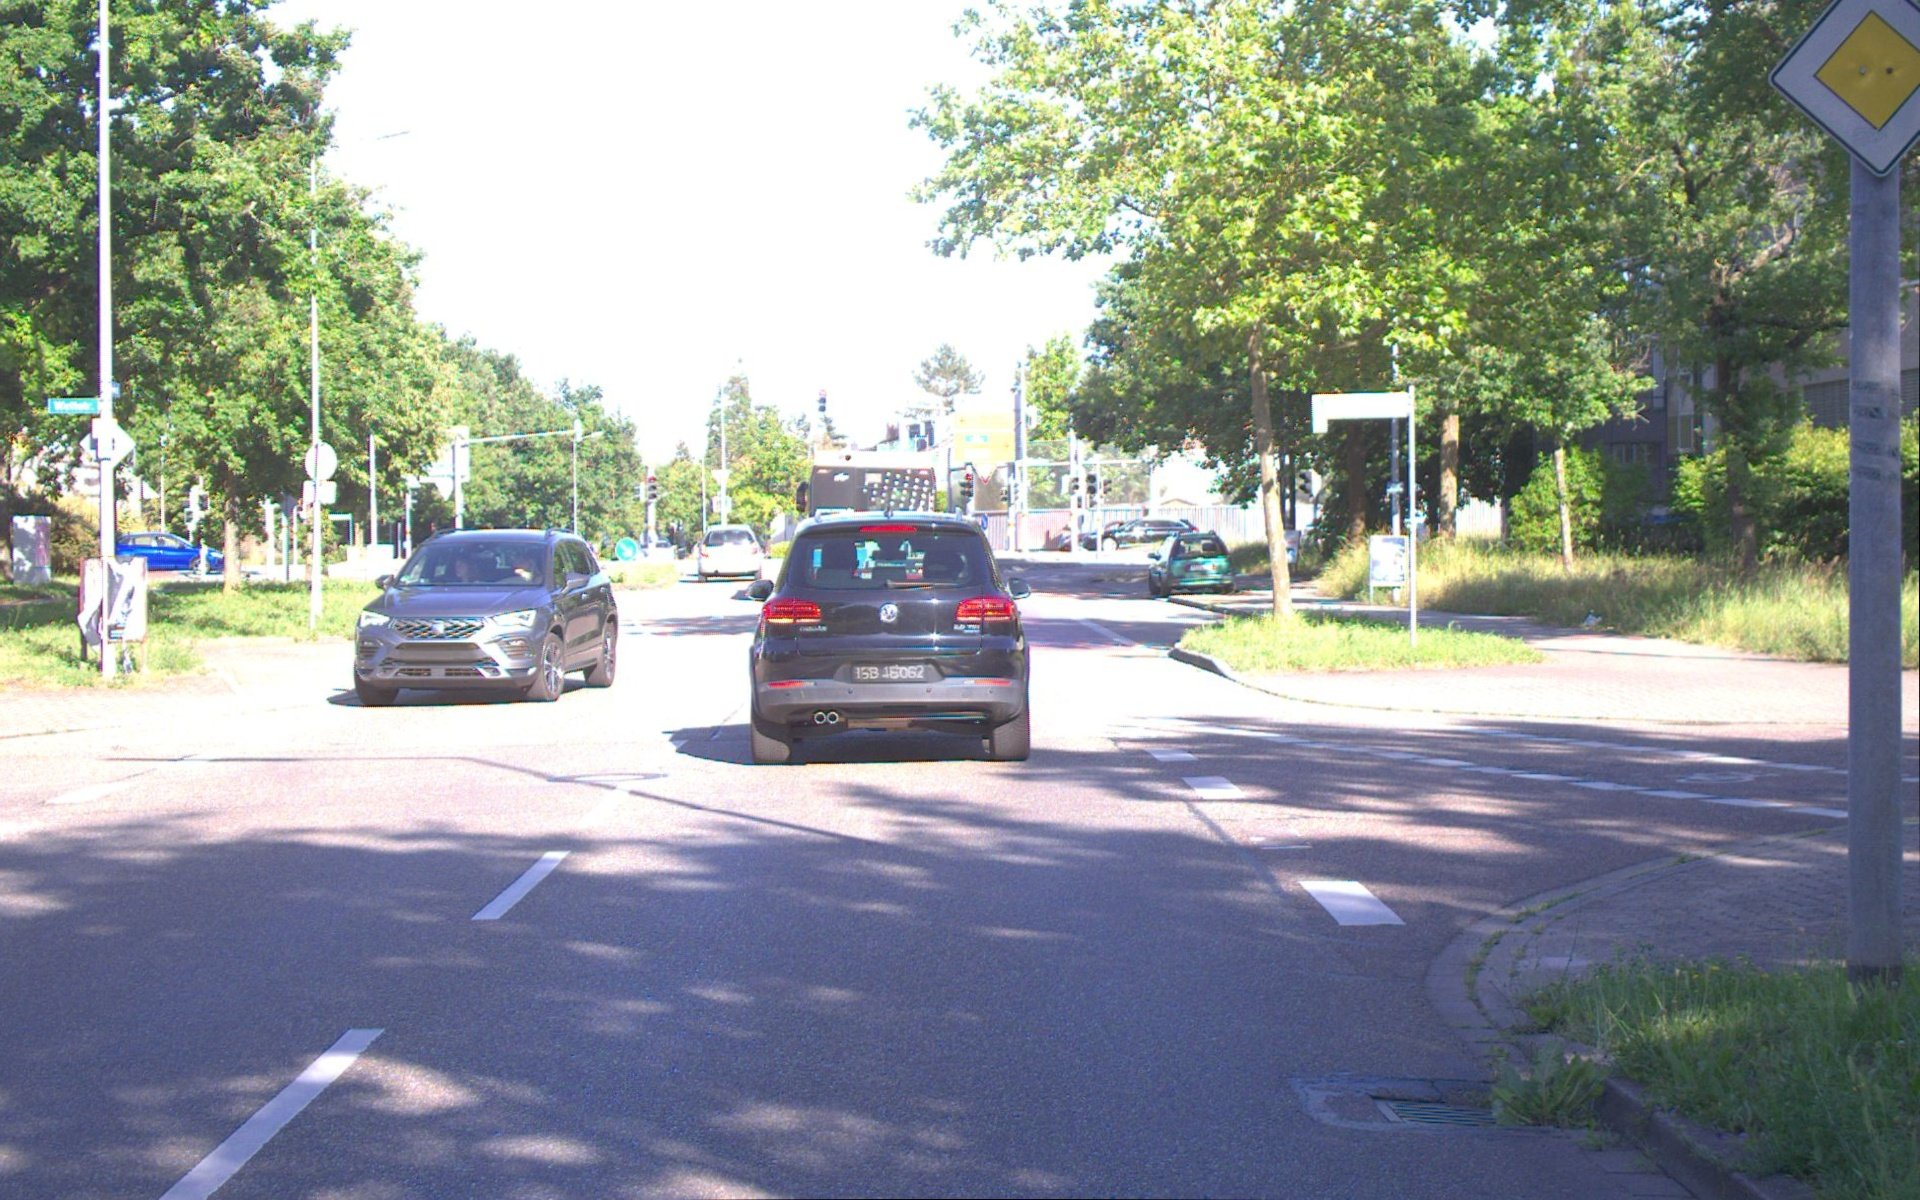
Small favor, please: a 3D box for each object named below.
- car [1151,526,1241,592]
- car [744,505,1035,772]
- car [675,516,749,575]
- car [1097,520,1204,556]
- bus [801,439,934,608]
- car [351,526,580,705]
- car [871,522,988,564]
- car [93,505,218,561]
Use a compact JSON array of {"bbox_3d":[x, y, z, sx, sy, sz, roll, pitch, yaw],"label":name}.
[{"bbox_3d":[5.337,-0.941,78.201,1.592,1.424,4.204,-2,1,-2],"label":"car"},{"bbox_3d":[-0.463,0.229,23.694,1.821,1.668,4.003,-1,0,0],"label":"car"},{"bbox_3d":[-6.972,-1.507,96.296,1.753,1.615,4.034,-1,1,-8],"label":"car"},{"bbox_3d":[7.529,-2.452,136.038,3.891,1.335,1.683,1,0,-11],"label":"car"},{"bbox_3d":[-2.124,-1.657,74.379,2.596,3.323,11.985,1,1,-3],"label":"bus"},{"bbox_3d":[-4.686,0.121,33.069,1.753,1.590,4.299,0,0,-3],"label":"car"},{"bbox_3d":[-0.964,-1.799,108.489,3.523,1.297,1.574,0,1,6],"label":"car"},{"bbox_3d":[-27.658,-2.293,118.270,3.986,1.873,2.000,1,0,-7],"label":"car"}]
